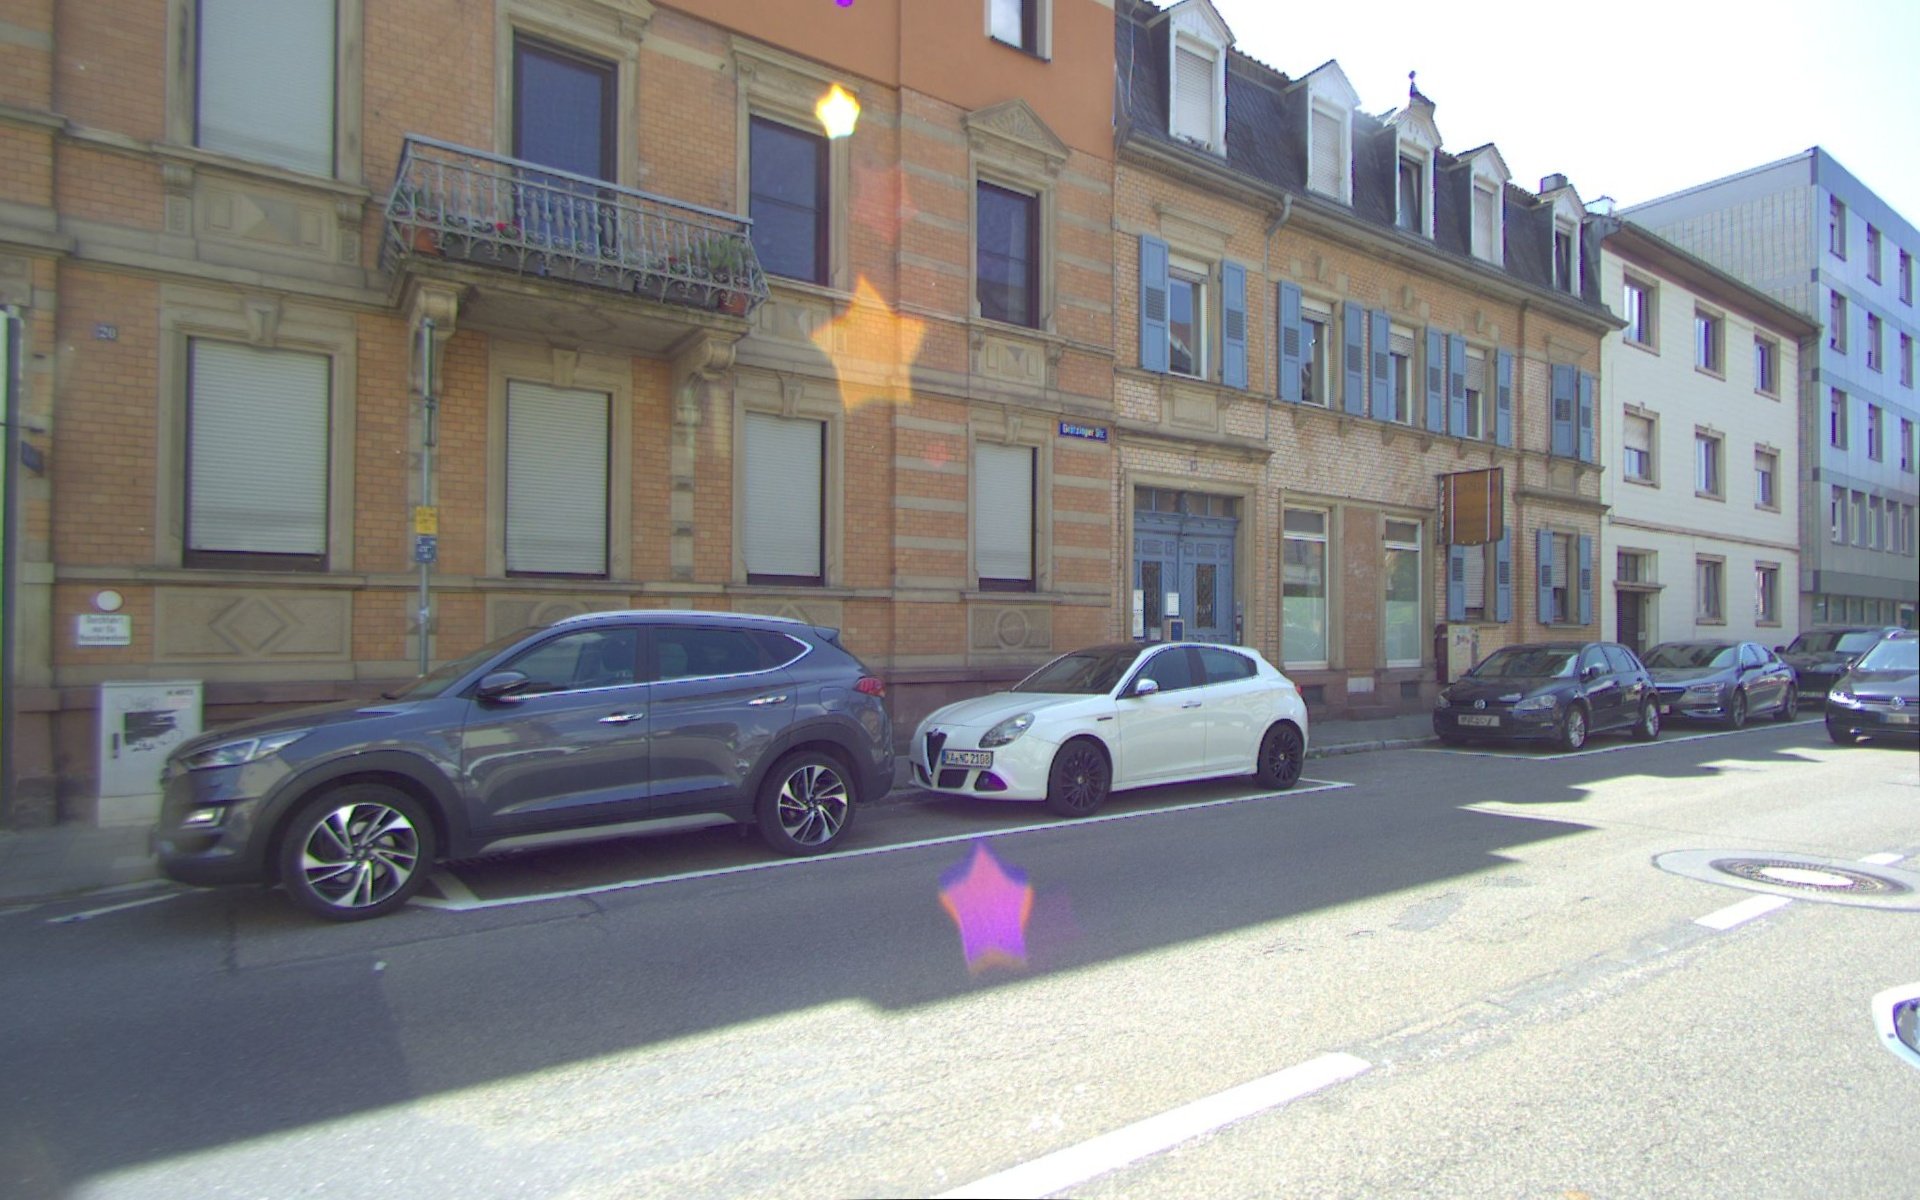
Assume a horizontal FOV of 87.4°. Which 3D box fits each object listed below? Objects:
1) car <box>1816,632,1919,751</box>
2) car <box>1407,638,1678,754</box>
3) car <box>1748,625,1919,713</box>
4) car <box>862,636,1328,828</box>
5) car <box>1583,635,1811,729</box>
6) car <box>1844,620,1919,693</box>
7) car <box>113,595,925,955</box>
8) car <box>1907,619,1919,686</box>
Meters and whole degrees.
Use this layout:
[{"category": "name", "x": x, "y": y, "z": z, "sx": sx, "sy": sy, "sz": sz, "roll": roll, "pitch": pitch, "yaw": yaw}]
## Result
[{"category": "car", "x": 13.927, "y": 1.223, "z": 14.248, "sx": 4.203, "sy": 1.514, "sz": 1.748, "roll": 1, "pitch": -2, "yaw": -35}, {"category": "car", "x": 8.474, "y": 1.321, "z": 14.488, "sx": 4.292, "sy": 1.424, "sz": 1.852, "roll": 2, "pitch": -5, "yaw": -38}, {"category": "car", "x": 18.618, "y": 1.394, "z": 21.073, "sx": 4.767, "sy": 1.662, "sz": 1.874, "roll": 2, "pitch": -3, "yaw": -34}, {"category": "car", "x": 1.388, "y": 1.123, "z": 9.616, "sx": 4.287, "sy": 1.444, "sz": 1.854, "roll": 2, "pitch": -5, "yaw": -35}, {"category": "car", "x": 12.941, "y": 1.387, "z": 17.533, "sx": 4.793, "sy": 1.424, "sz": 1.852, "roll": 2, "pitch": -5, "yaw": -37}, {"category": "car", "x": 23.631, "y": 1.373, "z": 24.682, "sx": 4.617, "sy": 1.662, "sz": 1.872, "roll": 2, "pitch": -3, "yaw": -36}, {"category": "car", "x": -2.600, "y": 0.929, "z": 6.703, "sx": 4.456, "sy": 1.648, "sz": 1.853, "roll": 2, "pitch": -5, "yaw": -36}, {"category": "car", "x": 28.661, "y": 1.478, "z": 28.370, "sx": 4.742, "sy": 1.849, "sz": 1.901, "roll": 2, "pitch": -3, "yaw": -36}]
